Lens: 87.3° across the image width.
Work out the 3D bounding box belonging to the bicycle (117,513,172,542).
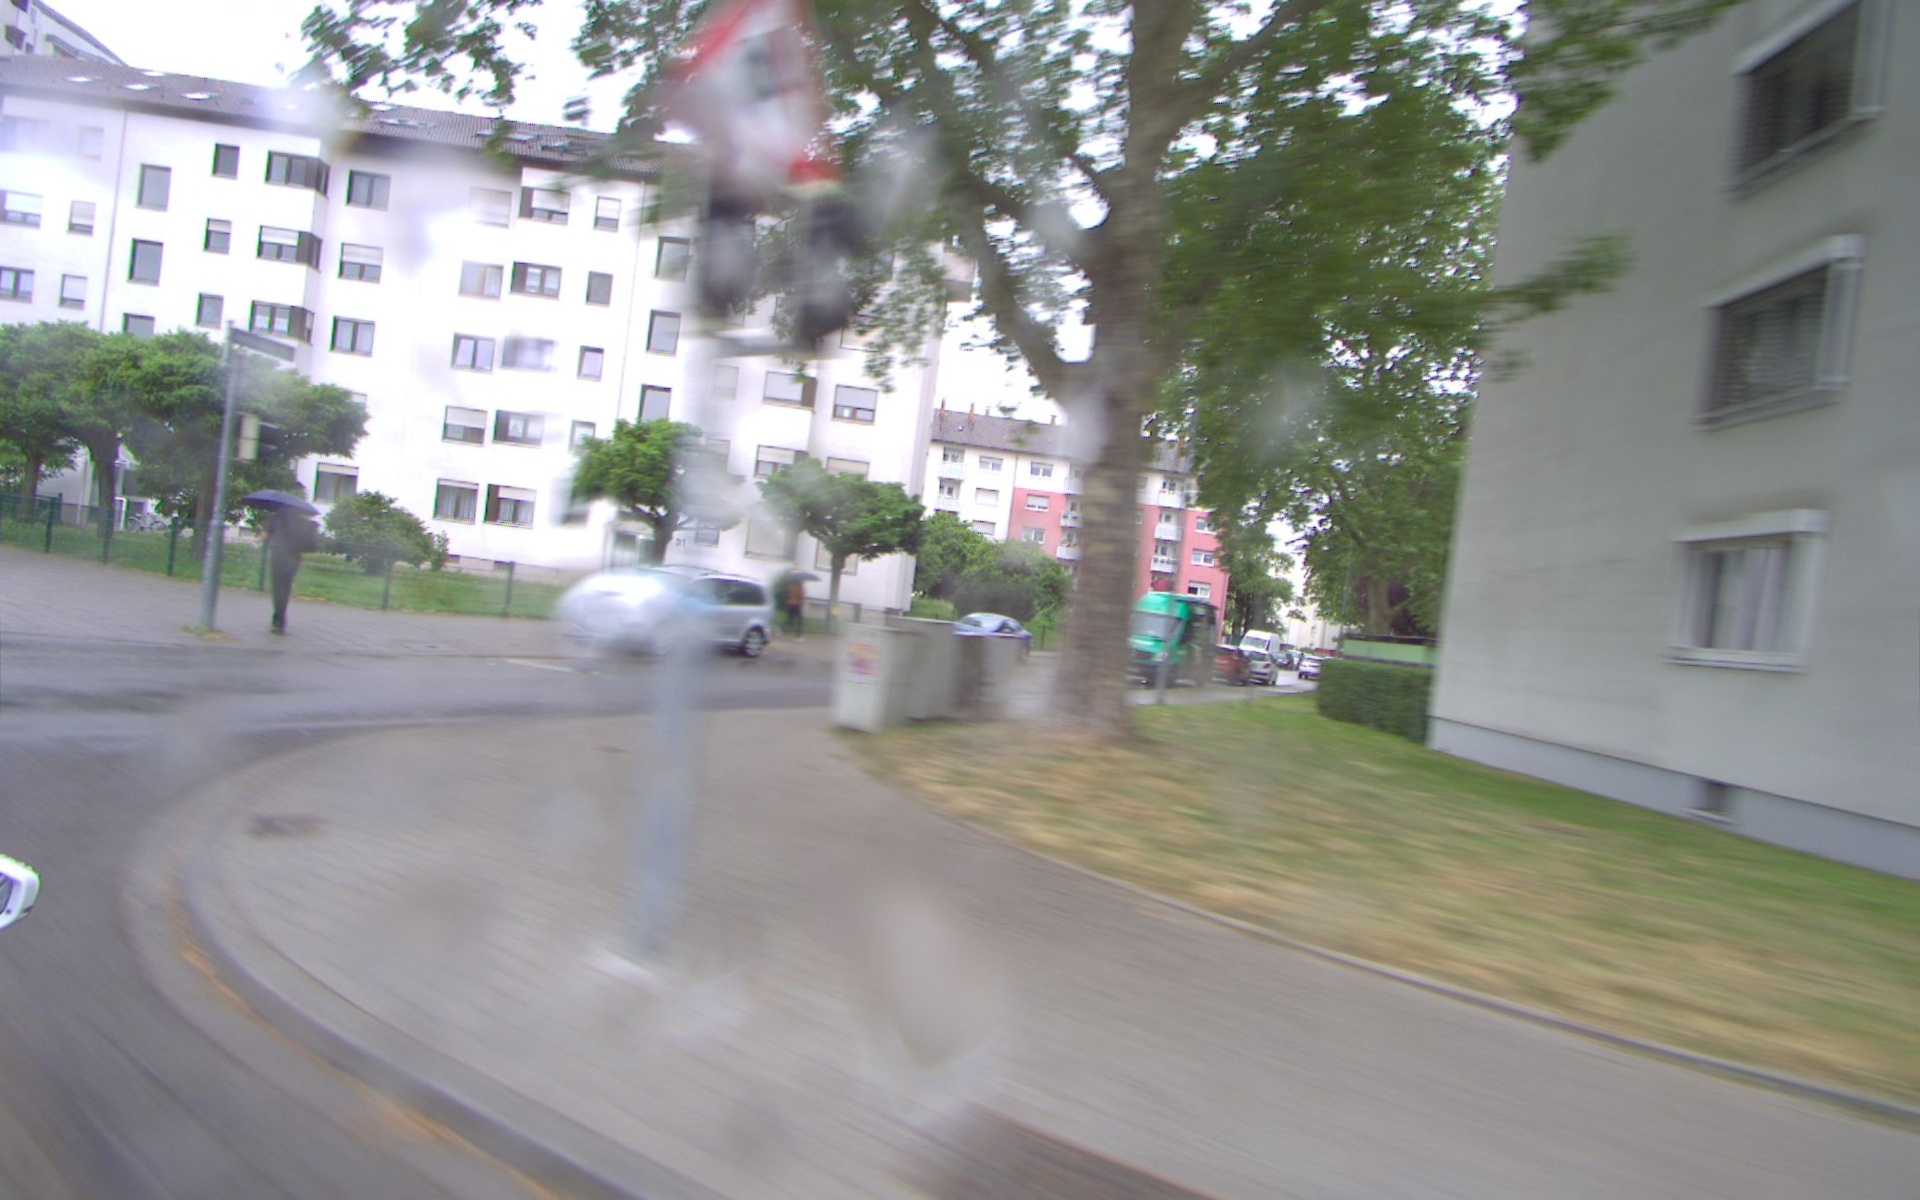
[{"bbox_3d":[-29.558,-2.624,36.463,1.542,0.858,0.491,7,1,2],"label":"bicycle"}]

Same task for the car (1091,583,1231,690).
[{"bbox_3d":[6.402,1.211,31.311,2.150,2.813,6.129,7,0,30],"label":"car"}]

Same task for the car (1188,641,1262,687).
[{"bbox_3d":[10.488,2.513,39.632,1.710,1.524,3.998,7,0,29],"label":"car"}]

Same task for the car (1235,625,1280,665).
[{"bbox_3d":[22.043,3.375,74.398,2.043,2.614,4.920,7,0,28],"label":"car"}]

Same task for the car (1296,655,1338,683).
[{"bbox_3d":[22.058,4.246,62.086,1.710,1.409,3.999,7,0,28],"label":"car"}]

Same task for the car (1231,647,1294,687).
[{"bbox_3d":[13.481,2.971,44.680,1.710,1.524,3.998,7,0,29],"label":"car"}]

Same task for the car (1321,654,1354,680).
[{"bbox_3d":[26.237,4.644,69.897,1.709,1.524,4.001,7,0,25],"label":"car"}]

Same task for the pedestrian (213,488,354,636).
[{"bbox_3d":[-9.371,-0.522,13.929,1.412,1.836,1.099,7,1,38],"label":"pedestrian"}]

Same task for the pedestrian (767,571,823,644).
[{"bbox_3d":[-4.315,0.208,26.351,0.708,1.790,1.181,7,1,25],"label":"pedestrian"}]

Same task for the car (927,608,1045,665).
[{"bbox_3d":[0.921,1.227,32.740,1.904,1.524,4.299,7,0,29],"label":"car"}]

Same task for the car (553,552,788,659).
[{"bbox_3d":[-5.567,0.188,19.901,1.839,1.701,4.299,7,0,29],"label":"car"}]

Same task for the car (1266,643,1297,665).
[{"bbox_3d":[26.700,4.498,83.507,1.655,1.524,4.302,7,0,26],"label":"car"}]

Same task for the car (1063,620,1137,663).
[{"bbox_3d":[5.963,1.790,42.471,1.655,1.524,4.302,7,0,27],"label":"car"}]
